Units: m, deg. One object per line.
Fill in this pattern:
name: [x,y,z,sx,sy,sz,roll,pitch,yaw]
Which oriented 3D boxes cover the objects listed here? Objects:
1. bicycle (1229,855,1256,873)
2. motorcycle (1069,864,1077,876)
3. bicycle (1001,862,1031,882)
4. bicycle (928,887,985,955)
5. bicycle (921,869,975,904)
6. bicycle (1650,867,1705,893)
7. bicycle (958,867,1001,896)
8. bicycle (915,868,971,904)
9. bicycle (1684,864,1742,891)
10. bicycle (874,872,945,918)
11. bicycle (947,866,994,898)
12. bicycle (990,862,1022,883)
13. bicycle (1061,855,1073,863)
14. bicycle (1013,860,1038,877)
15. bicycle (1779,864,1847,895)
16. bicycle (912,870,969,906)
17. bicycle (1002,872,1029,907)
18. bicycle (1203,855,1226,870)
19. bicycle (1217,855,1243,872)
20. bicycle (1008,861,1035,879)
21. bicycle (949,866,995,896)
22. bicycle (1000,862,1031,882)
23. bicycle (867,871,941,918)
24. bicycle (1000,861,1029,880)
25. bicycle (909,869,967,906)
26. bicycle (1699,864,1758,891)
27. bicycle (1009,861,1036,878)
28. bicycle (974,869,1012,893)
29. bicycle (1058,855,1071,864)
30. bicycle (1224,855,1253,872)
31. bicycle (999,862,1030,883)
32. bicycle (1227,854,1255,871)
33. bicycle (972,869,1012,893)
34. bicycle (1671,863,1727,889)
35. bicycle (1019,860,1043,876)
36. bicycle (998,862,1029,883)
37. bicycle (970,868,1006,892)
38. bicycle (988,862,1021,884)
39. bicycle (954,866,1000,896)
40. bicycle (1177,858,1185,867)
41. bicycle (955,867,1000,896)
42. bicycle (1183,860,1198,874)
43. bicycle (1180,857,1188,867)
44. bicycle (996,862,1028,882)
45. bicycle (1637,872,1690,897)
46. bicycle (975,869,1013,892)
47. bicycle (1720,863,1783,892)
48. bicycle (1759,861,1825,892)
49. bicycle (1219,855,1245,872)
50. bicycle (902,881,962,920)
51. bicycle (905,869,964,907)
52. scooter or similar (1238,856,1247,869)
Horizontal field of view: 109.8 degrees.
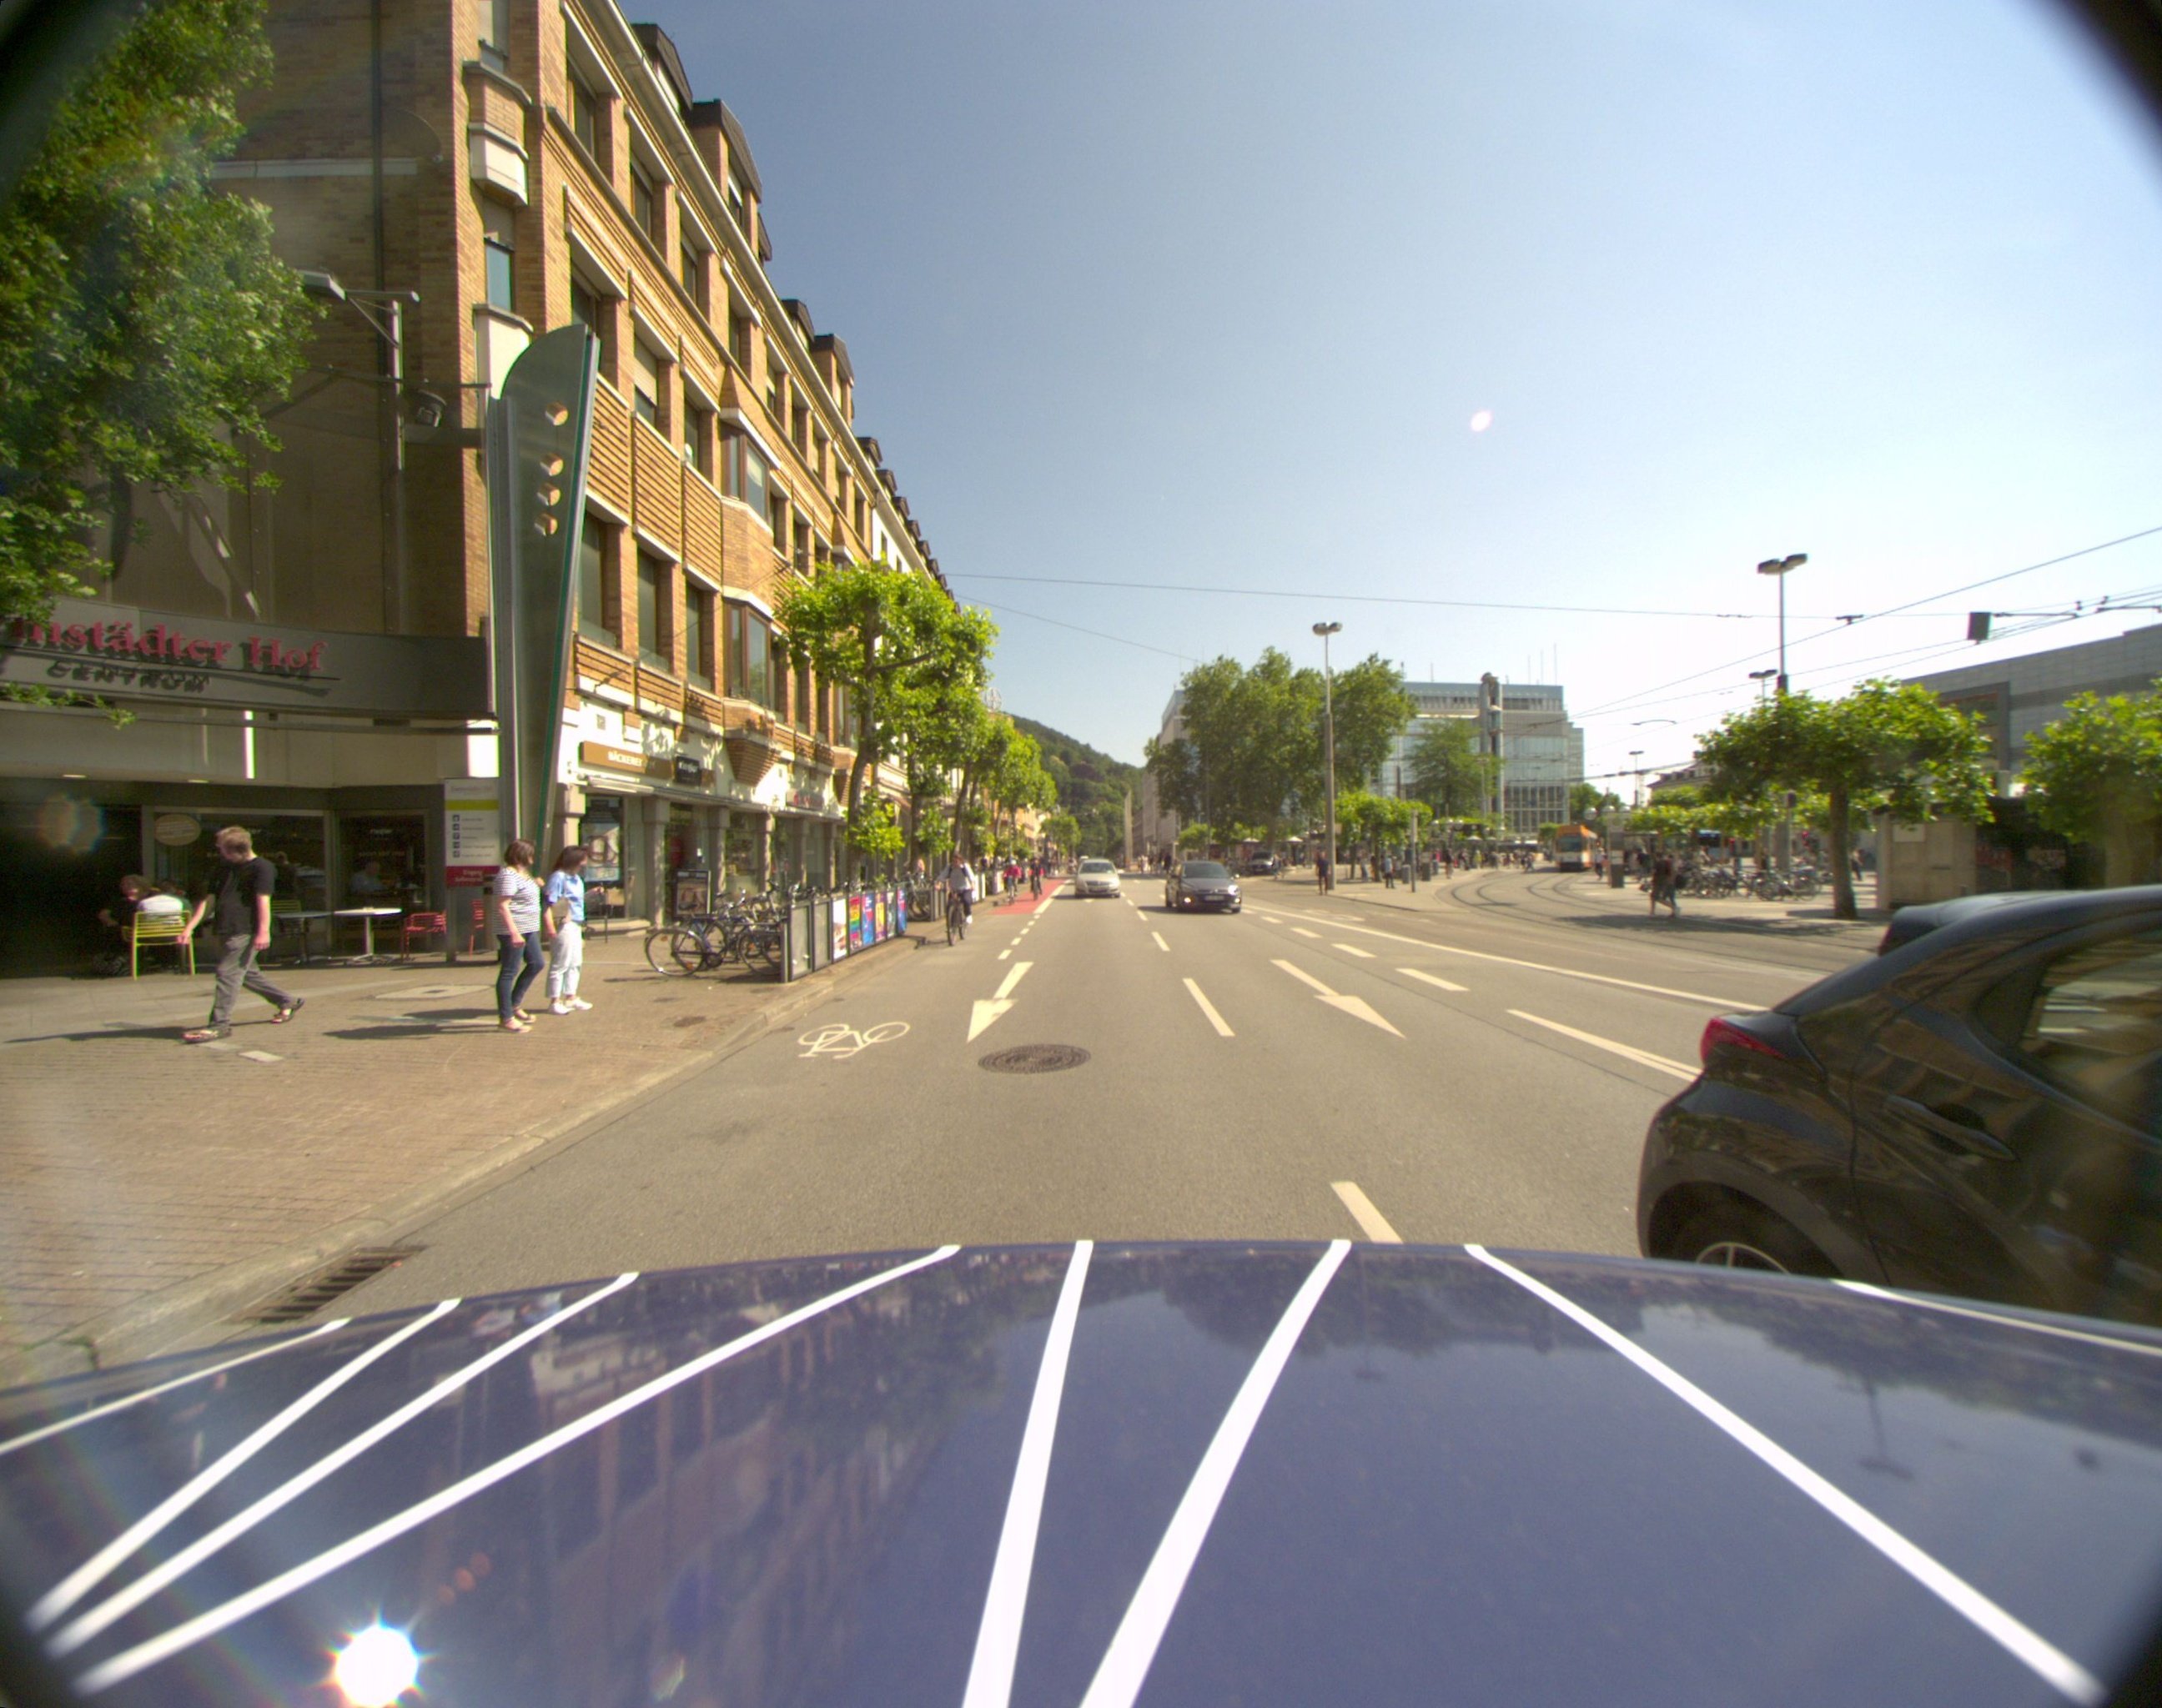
bicycle: [10.956,0.692,51.548,1.757,1.140,0.483,-1,1,-1]
motorcycle: [-0.813,1.596,75.832,0.736,1.086,1.898,-3,0,1]
bicycle: [-3.980,1.088,46.351,1.757,1.140,0.592,-1,1,-1]
bicycle: [-2.333,1.228,14.468,0.736,1.086,1.897,-3,0,-1]
bicycle: [-4.569,1.119,26.216,1.757,1.140,0.499,-1,1,-1]
bicycle: [22.711,0.986,28.935,1.871,0.867,0.583,-3,1,-12]
bicycle: [-4.257,1.147,31.933,1.757,1.140,0.483,-1,1,-1]
bicycle: [-4.640,1.063,25.616,1.757,1.140,0.483,-1,1,-1]
bicycle: [22.685,0.843,27.283,1.871,0.851,0.546,-3,1,-12]
bicycle: [-4.543,1.086,20.158,1.757,1.140,0.483,-1,1,-1]
bicycle: [-4.295,1.096,29.653,1.757,1.180,0.483,-1,1,-1]
bicycle: [-4.206,1.046,42.728,1.757,1.140,0.483,-1,1,-1]
bicycle: [-2.153,0.818,116.023,1.757,1.140,0.592,-1,1,-1]
bicycle: [-4.065,1.065,55.802,1.757,1.140,0.592,-1,1,-1]
bicycle: [22.919,0.798,23.787,1.871,0.864,0.581,-3,1,-12]
bicycle: [-4.619,1.114,25.088,1.757,1.140,0.483,-1,1,-1]
bicycle: [-2.264,1.214,26.390,0.736,1.086,1.819,-2,0,-1]
bicycle: [10.707,0.671,61.042,1.757,1.140,0.483,-1,1,-1]
bicycle: [10.843,0.684,55.308,1.757,1.140,0.483,-1,1,-1]
bicycle: [-4.024,1.073,51.443,1.757,1.140,0.592,-1,1,-1]
bicycle: [-4.325,1.085,30.260,1.757,1.140,0.483,-1,1,-1]
bicycle: [-3.945,1.088,45.708,1.757,1.140,0.592,-1,1,-1]
bicycle: [-4.552,1.032,19.594,1.757,1.140,0.483,-1,1,-1]
bicycle: [-4.133,1.022,47.550,1.757,1.140,0.592,-1,1,-1]
bicycle: [-4.624,1.085,24.587,1.757,1.140,0.483,-1,1,-1]
bicycle: [22.756,0.826,26.696,1.871,0.851,0.546,-3,1,-12]
bicycle: [-4.005,1.069,52.142,1.757,1.140,0.592,-1,1,-1]
bicycle: [-4.182,1.275,36.182,1.757,1.081,0.483,-1,1,-1]
bicycle: [-2.326,0.759,105.539,1.757,1.140,0.592,-1,1,-1]
bicycle: [10.947,0.687,52.872,1.865,1.140,0.483,-1,1,-1]
bicycle: [-3.903,1.075,44.572,1.757,1.140,0.483,-1,1,-1]
bicycle: [10.963,0.587,52.032,1.757,1.140,0.483,-1,1,-1]
bicycle: [-4.172,1.265,35.691,1.757,1.099,0.483,-1,1,-1]
bicycle: [22.681,0.794,27.889,1.871,0.851,0.546,-3,1,-12]
bicycle: [-3.824,1.049,57.758,1.757,1.140,0.592,-1,1,-1]
bicycle: [-4.016,1.096,45.101,1.757,1.140,0.483,-1,1,-1]
bicycle: [-4.682,1.308,38.400,1.757,1.140,0.483,-1,1,-1]
bicycle: [-4.255,1.041,42.196,1.778,1.140,0.483,-1,1,-1]
bicycle: [-4.212,1.084,30.817,1.757,1.140,0.483,-1,1,-1]
bicycle: [13.099,1.108,99.489,0.592,1.140,1.757,-1,0,-7]
bicycle: [-4.278,1.118,31.372,1.757,1.141,0.527,-1,2,-1]
bicycle: [9.137,1.058,63.273,0.831,1.017,2.626,-3,0,1]
bicycle: [12.274,0.962,90.731,0.729,1.137,1.914,-3,0,14]
bicycle: [-3.991,1.037,43.952,1.757,1.140,0.483,-1,1,-1]
bicycle: [22.654,1.172,29.552,1.871,0.851,0.546,-3,1,-12]
bicycle: [-4.218,1.272,36.711,1.757,1.062,0.483,-1,1,-1]
bicycle: [22.722,0.800,25.735,1.871,0.864,0.581,-3,1,-12]
bicycle: [22.788,0.715,24.357,1.871,0.864,0.581,-3,1,-12]
bicycle: [10.899,0.684,54.747,1.757,1.140,0.483,-1,1,-1]
bicycle: [-4.634,1.433,23.647,1.757,1.140,0.483,-1,1,-1]
bicycle: [-4.632,1.085,24.085,1.757,1.140,0.483,-1,1,-1]
scooter or similar: [14.161,0.769,66.731,0.567,1.113,0.539,-2,1,28]
